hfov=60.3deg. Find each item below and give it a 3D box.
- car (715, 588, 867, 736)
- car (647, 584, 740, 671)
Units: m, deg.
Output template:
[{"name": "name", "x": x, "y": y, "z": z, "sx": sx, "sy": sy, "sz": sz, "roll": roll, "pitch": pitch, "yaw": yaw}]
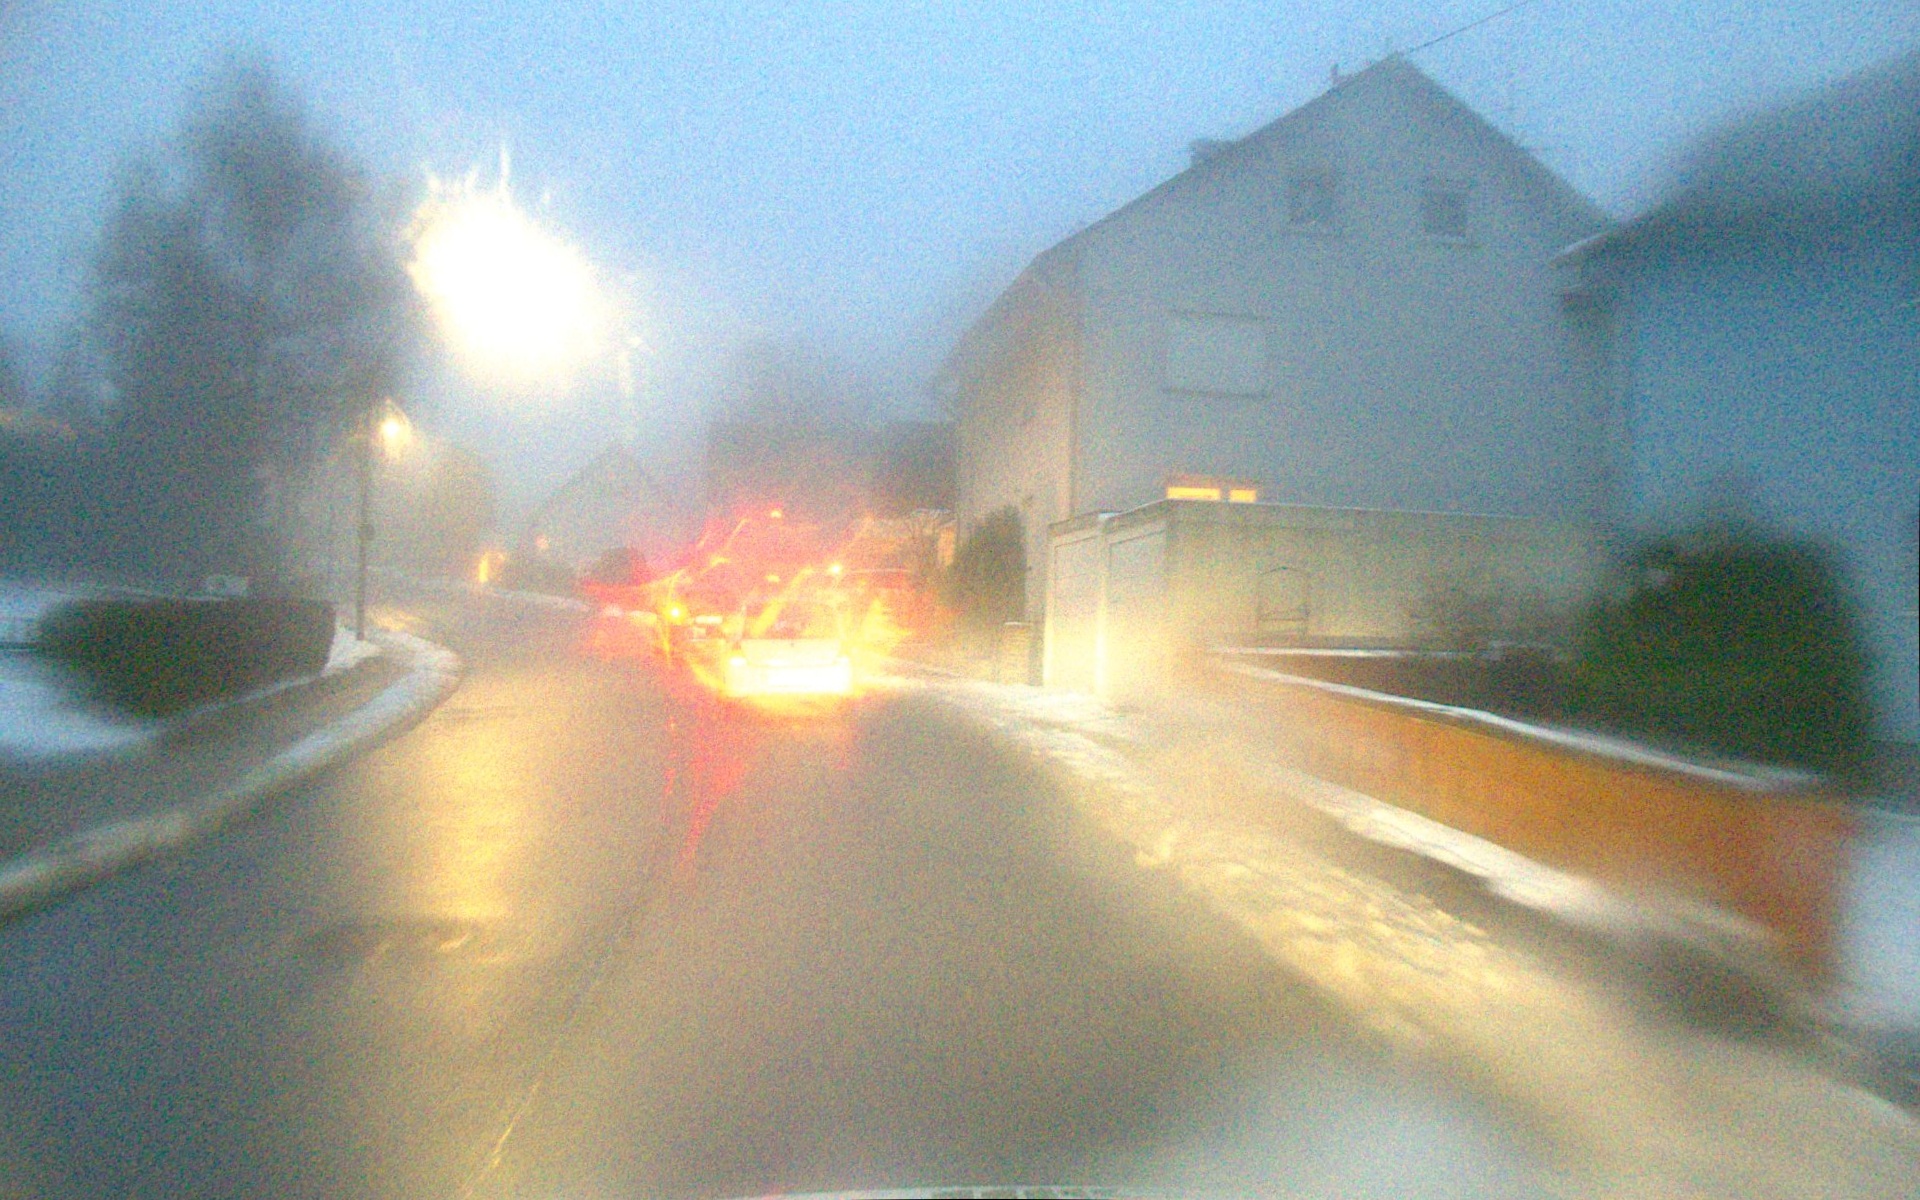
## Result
[{"name": "car", "x": -2.203, "y": 0.762, "z": 20.816, "sx": 1.615, "sy": 1.624, "sz": 3.691, "roll": 3, "pitch": -2, "yaw": -9}, {"name": "car", "x": -5.574, "y": 0.573, "z": 34.285, "sx": 1.617, "sy": 1.624, "sz": 3.687, "roll": 3, "pitch": -2, "yaw": -12}]
